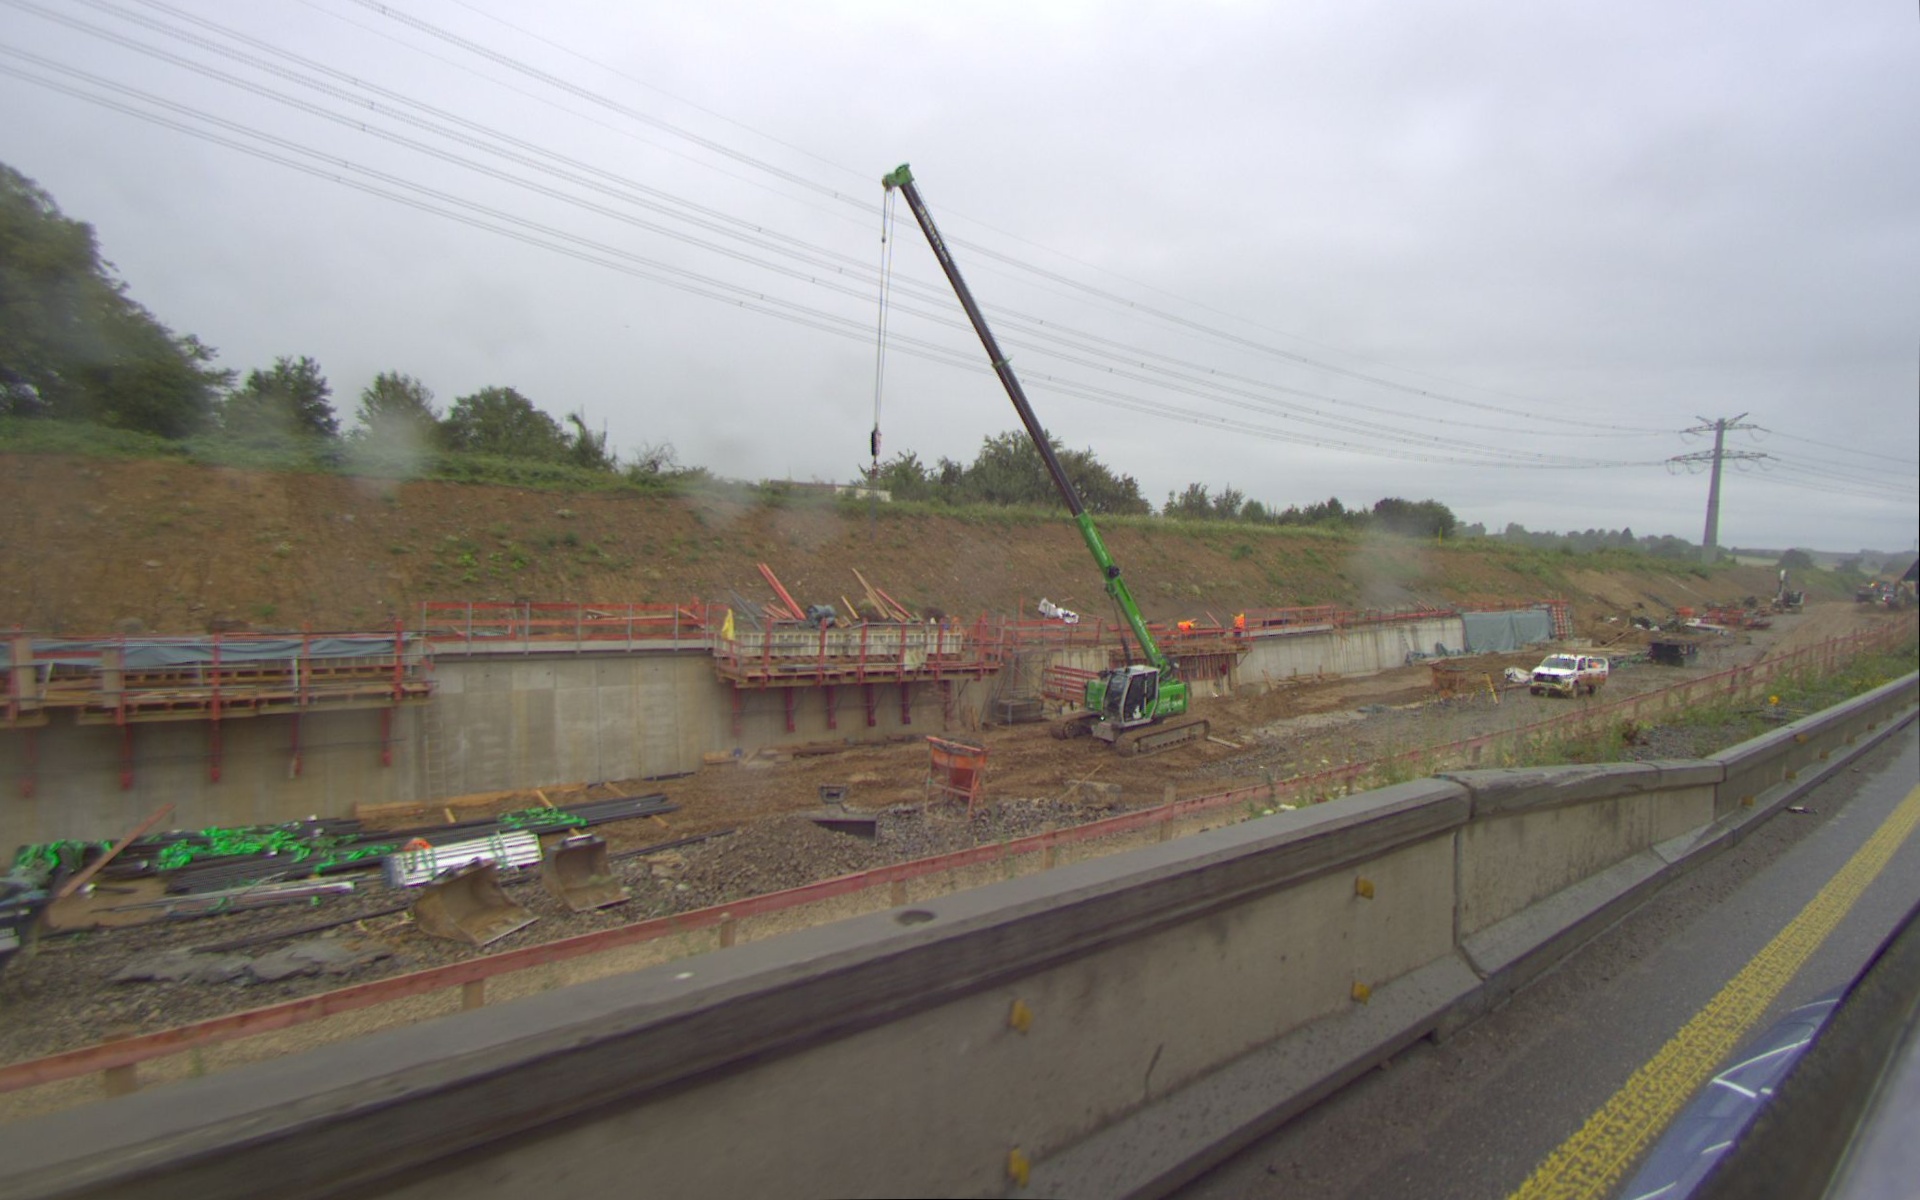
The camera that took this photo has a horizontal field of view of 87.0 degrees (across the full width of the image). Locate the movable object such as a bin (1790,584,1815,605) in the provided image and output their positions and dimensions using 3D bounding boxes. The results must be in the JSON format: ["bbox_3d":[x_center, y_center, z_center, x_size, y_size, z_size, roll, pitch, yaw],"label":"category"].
[{"bbox_3d":[114.097,-0.742,137.001,3.935,2.753,2.247,-1,1,-45],"label":"movable object such as a bin"}]

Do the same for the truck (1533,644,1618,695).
[{"bbox_3d":[28.840,3.178,47.331,5.687,1.894,1.766,-1,3,-42],"label":"truck"}]

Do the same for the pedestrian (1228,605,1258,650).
[{"bbox_3d":[14.648,1.411,52.412,0.988,2.260,0.917,-2,-3,-38],"label":"pedestrian"}]

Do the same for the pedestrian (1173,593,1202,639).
[{"bbox_3d":[11.619,0.813,51.595,0.990,2.275,0.915,-1,-3,-45],"label":"pedestrian"}]

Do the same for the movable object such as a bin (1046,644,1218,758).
[{"bbox_3d":[6.062,3.396,35.557,4.777,2.836,3.798,-7,7,-42],"label":"movable object such as a bin"}]
